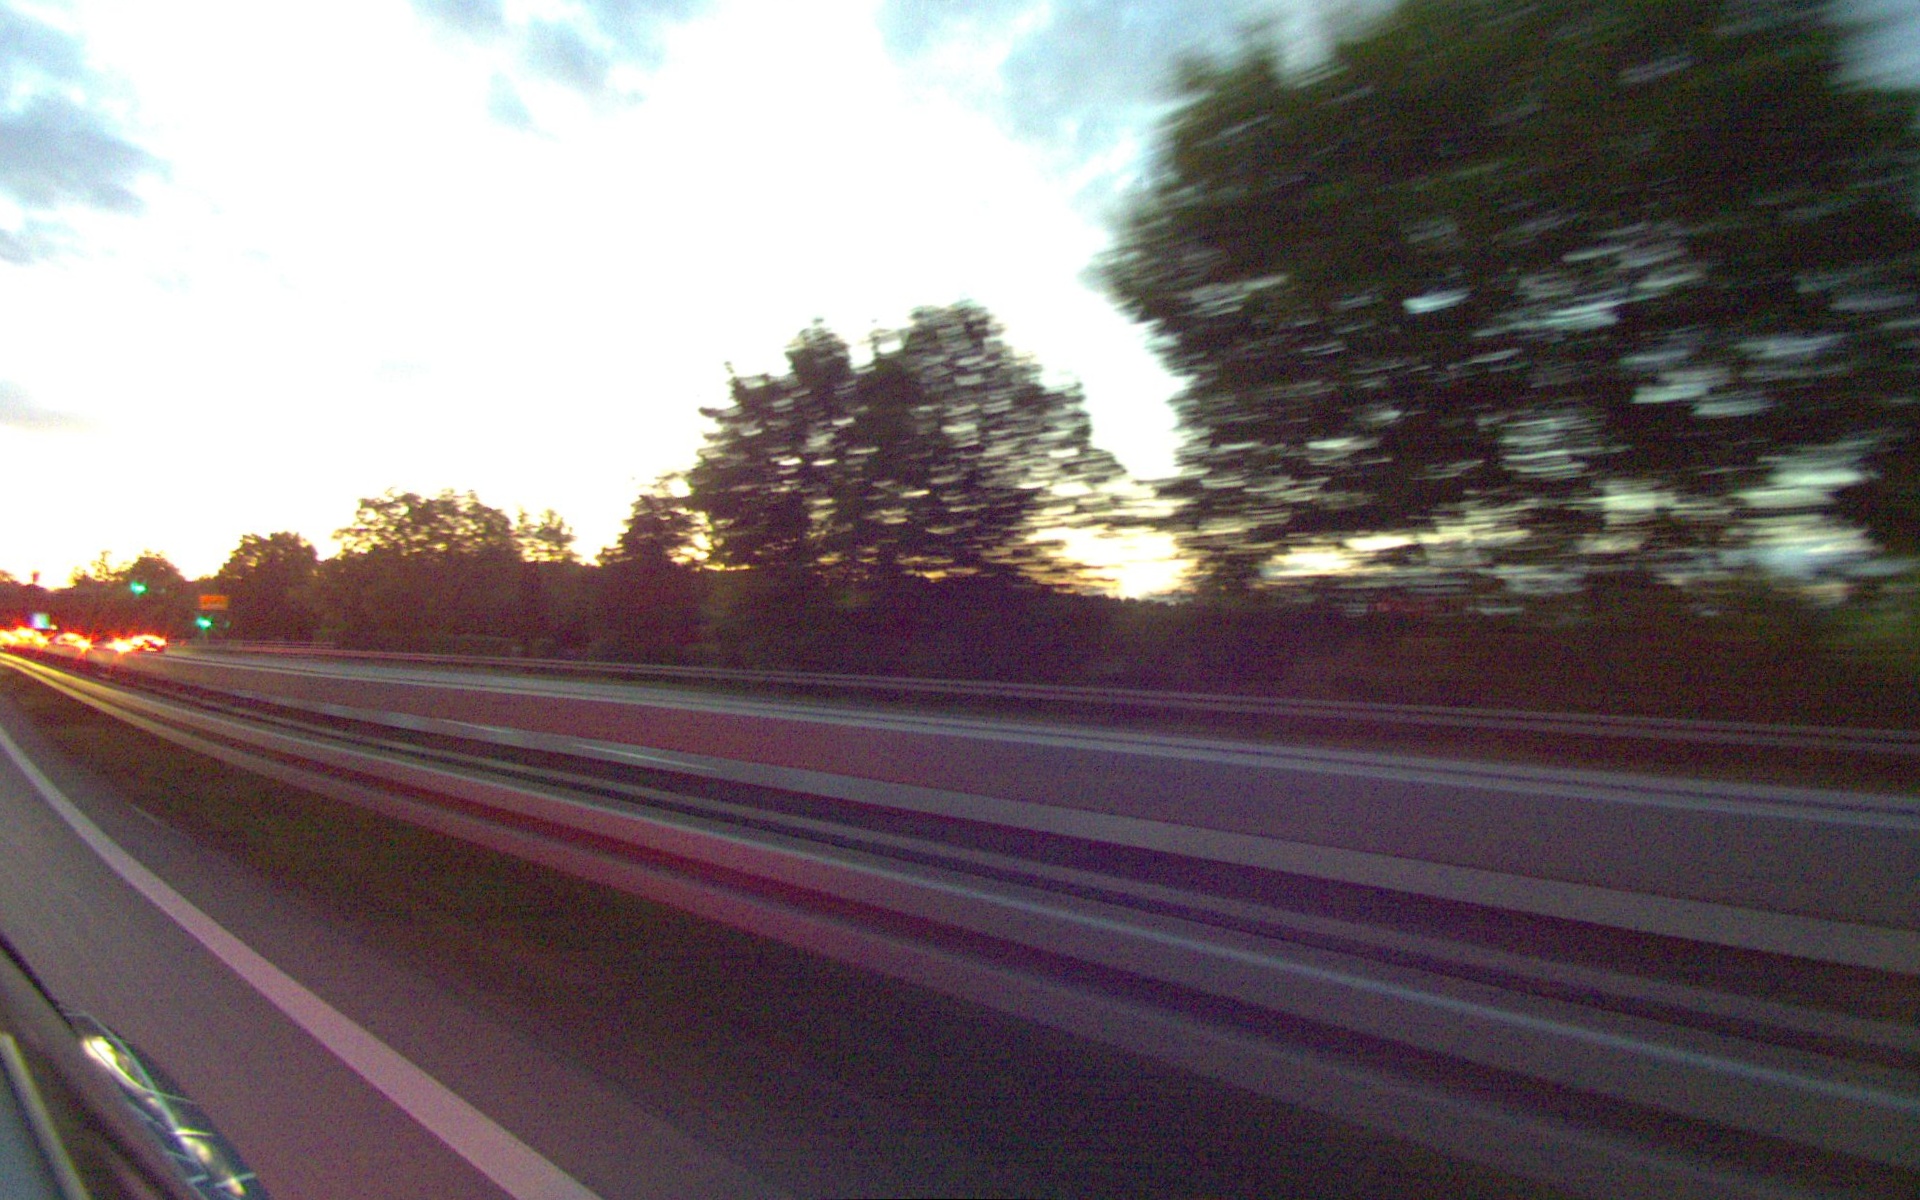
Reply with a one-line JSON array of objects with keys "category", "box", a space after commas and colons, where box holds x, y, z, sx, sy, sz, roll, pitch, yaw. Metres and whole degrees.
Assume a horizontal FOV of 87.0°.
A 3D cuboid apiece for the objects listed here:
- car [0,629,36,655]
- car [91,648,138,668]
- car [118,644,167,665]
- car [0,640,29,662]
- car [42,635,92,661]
[{"category": "car", "box": [-59.276, 2.633, 63.180, 4.823, 1.582, 1.971, -2, -5, 43]}, {"category": "car", "box": [-63.666, 4.382, 76.174, 4.732, 1.464, 1.972, -3, -5, 41]}, {"category": "car", "box": [-58.599, 3.900, 72.524, 4.733, 1.464, 1.972, -2, -4, 42]}, {"category": "car", "box": [-64.094, 3.418, 67.850, 5.047, 1.464, 1.972, -2, -5, 43]}, {"category": "car", "box": [-63.512, 3.394, 71.964, 4.870, 1.695, 1.973, -1, -3, 40]}]
